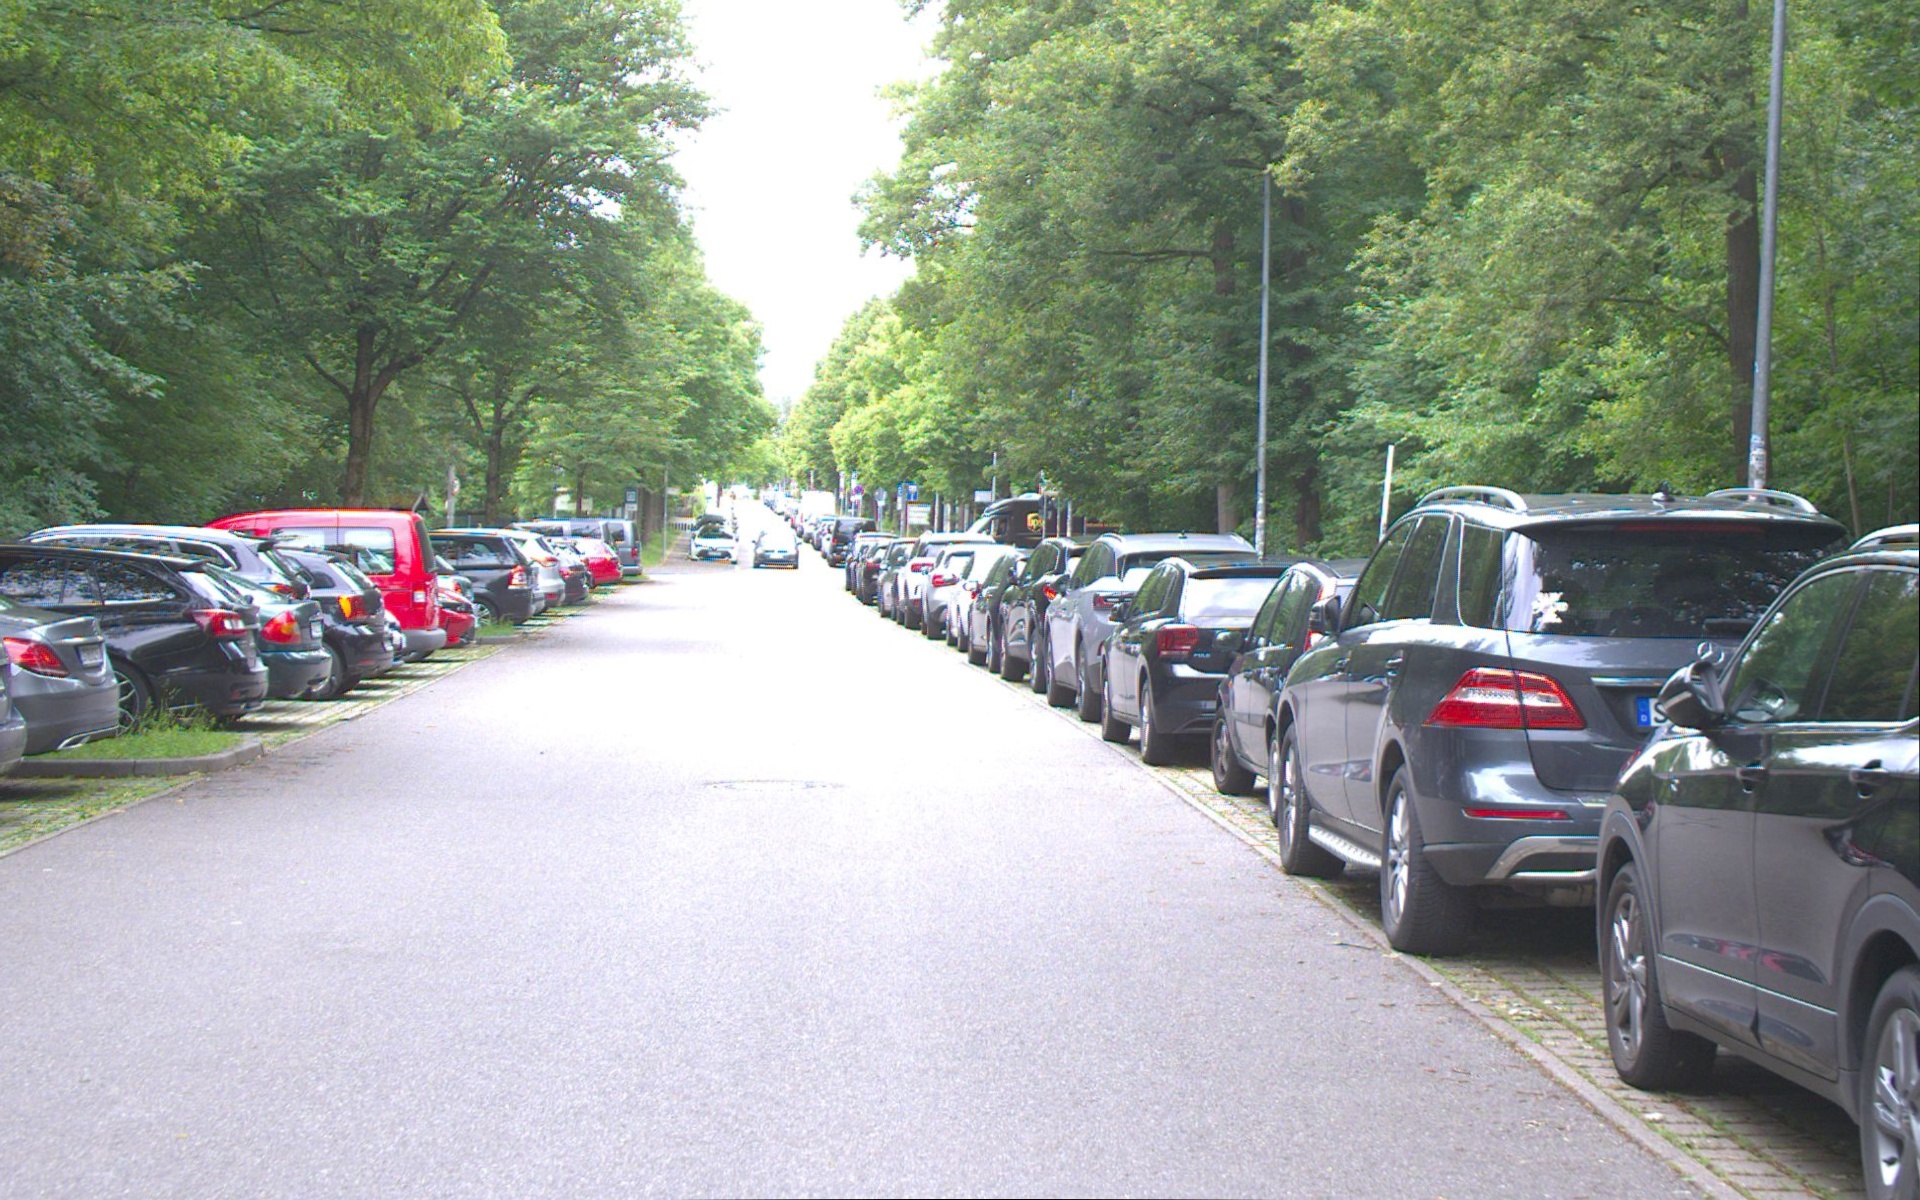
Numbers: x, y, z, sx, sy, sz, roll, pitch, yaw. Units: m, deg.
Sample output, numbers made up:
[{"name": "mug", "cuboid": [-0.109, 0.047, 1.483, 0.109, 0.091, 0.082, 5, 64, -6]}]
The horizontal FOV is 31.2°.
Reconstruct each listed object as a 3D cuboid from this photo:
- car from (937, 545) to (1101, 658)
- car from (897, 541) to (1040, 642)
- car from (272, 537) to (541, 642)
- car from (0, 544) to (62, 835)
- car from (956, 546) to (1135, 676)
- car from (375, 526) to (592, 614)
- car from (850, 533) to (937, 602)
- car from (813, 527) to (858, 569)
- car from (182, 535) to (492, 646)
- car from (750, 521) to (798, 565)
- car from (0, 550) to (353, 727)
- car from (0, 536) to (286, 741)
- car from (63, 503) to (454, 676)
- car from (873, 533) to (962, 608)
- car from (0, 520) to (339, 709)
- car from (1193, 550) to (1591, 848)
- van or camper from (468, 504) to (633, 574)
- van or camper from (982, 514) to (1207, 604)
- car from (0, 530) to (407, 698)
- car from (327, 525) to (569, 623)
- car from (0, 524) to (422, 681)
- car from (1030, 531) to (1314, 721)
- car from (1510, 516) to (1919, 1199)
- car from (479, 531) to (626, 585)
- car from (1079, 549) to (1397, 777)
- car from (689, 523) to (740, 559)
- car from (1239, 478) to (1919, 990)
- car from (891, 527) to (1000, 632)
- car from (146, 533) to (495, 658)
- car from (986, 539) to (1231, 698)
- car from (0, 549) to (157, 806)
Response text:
[{"name": "car", "cuboid": [0.788, -0.010, 48.447, 1.937, 1.470, 3.993, 1, 1, -4]}, {"name": "car", "cuboid": [0.093, -0.155, 54.353, 1.721, 1.489, 3.775, 1, 1, -8]}, {"name": "car", "cuboid": [-8.428, -0.169, 52.583, 3.832, 1.531, 1.871, 1, 1, -2]}, {"name": "car", "cuboid": [-6.954, 0.425, 17.846, 4.109, 1.475, 1.997, 1, 1, -3]}, {"name": "car", "cuboid": [0.981, 0.102, 41.489, 1.666, 1.439, 3.815, 1, 1, -6]}, {"name": "car", "cuboid": [-9.299, -0.597, 67.312, 3.986, 1.634, 2.009, 1, 1, -2]}, {"name": "car", "cuboid": [-1.559, -0.768, 79.521, 1.921, 1.515, 3.887, 1, 1, -2]}, {"name": "car", "cuboid": [-4.888, -2.052, 134.306, 1.628, 1.410, 3.412, 2, 4, -4]}, {"name": "car", "cuboid": [-8.603, -0.145, 47.732, 3.986, 1.469, 1.847, 1, 1, -2]}, {"name": "car", "cuboid": [-6.955, -2.135, 128.389, 1.690, 1.410, 3.154, 2, 4, -4]}, {"name": "car", "cuboid": [-7.393, 0.275, 27.665, 4.731, 1.338, 1.988, 1, 1, -3]}, {"name": "car", "cuboid": [-7.211, 0.251, 25.318, 4.294, 1.444, 1.757, 1, 1, -7]}, {"name": "car", "cuboid": [-7.650, -0.129, 37.813, 3.986, 1.810, 2.115, 1, 1, -5]}, {"name": "car", "cuboid": [-0.922, -0.639, 72.320, 1.710, 1.504, 4.001, 1, 1, -3]}, {"name": "car", "cuboid": [-7.993, 0.098, 30.346, 4.731, 1.590, 1.960, 1, 1, -3]}, {"name": "car", "cuboid": [2.387, 0.488, 19.929, 1.598, 1.499, 4.090, 1, 1, -3]}, {"name": "van or camper", "cuboid": [-12.020, -1.783, 100.840, 4.472, 1.861, 1.920, 1, 4, -17]}, {"name": "van or camper", "cuboid": [4.704, -1.442, 120.283, 7.321, 2.879, 2.651, 1, 4, -17]}, {"name": "car", "cuboid": [-7.349, 0.114, 32.832, 3.986, 1.525, 2.000, 1, 1, -7]}, {"name": "car", "cuboid": [-8.889, -0.467, 59.899, 3.986, 1.634, 1.735, 1, 1, -2]}, {"name": "car", "cuboid": [-7.633, 0.009, 35.267, 3.986, 1.525, 2.000, 1, 1, -3]}, {"name": "car", "cuboid": [1.805, 0.172, 30.808, 1.978, 1.532, 4.622, 1, 1, -3]}, {"name": "car", "cuboid": [2.717, 0.613, 8.624, 1.751, 1.602, 4.447, 1, 1, -3]}, {"name": "car", "cuboid": [-10.680, -1.097, 90.017, 3.576, 1.356, 1.829, 0, 1, -15]}, {"name": "car", "cuboid": [1.926, 0.392, 24.958, 1.636, 1.472, 4.152, 1, 1, -5]}, {"name": "car", "cuboid": [-9.377, -2.258, 131.578, 1.739, 1.158, 3.411, 2, 4, -1]}, {"name": "car", "cuboid": [2.432, 0.415, 14.344, 1.889, 1.741, 4.949, 1, 1, -3]}, {"name": "car", "cuboid": [-0.279, -0.387, 59.922, 1.710, 1.722, 4.001, 1, 1, -3]}, {"name": "car", "cuboid": [-7.879, -0.075, 42.659, 3.986, 1.469, 2.115, 1, 1, -2]}, {"name": "car", "cuboid": [1.502, 0.149, 36.440, 1.978, 1.532, 4.167, 1, 1, -6]}, {"name": "car", "cuboid": [-7.037, 0.402, 20.346, 4.109, 1.426, 1.964, 1, 1, 0]}]
